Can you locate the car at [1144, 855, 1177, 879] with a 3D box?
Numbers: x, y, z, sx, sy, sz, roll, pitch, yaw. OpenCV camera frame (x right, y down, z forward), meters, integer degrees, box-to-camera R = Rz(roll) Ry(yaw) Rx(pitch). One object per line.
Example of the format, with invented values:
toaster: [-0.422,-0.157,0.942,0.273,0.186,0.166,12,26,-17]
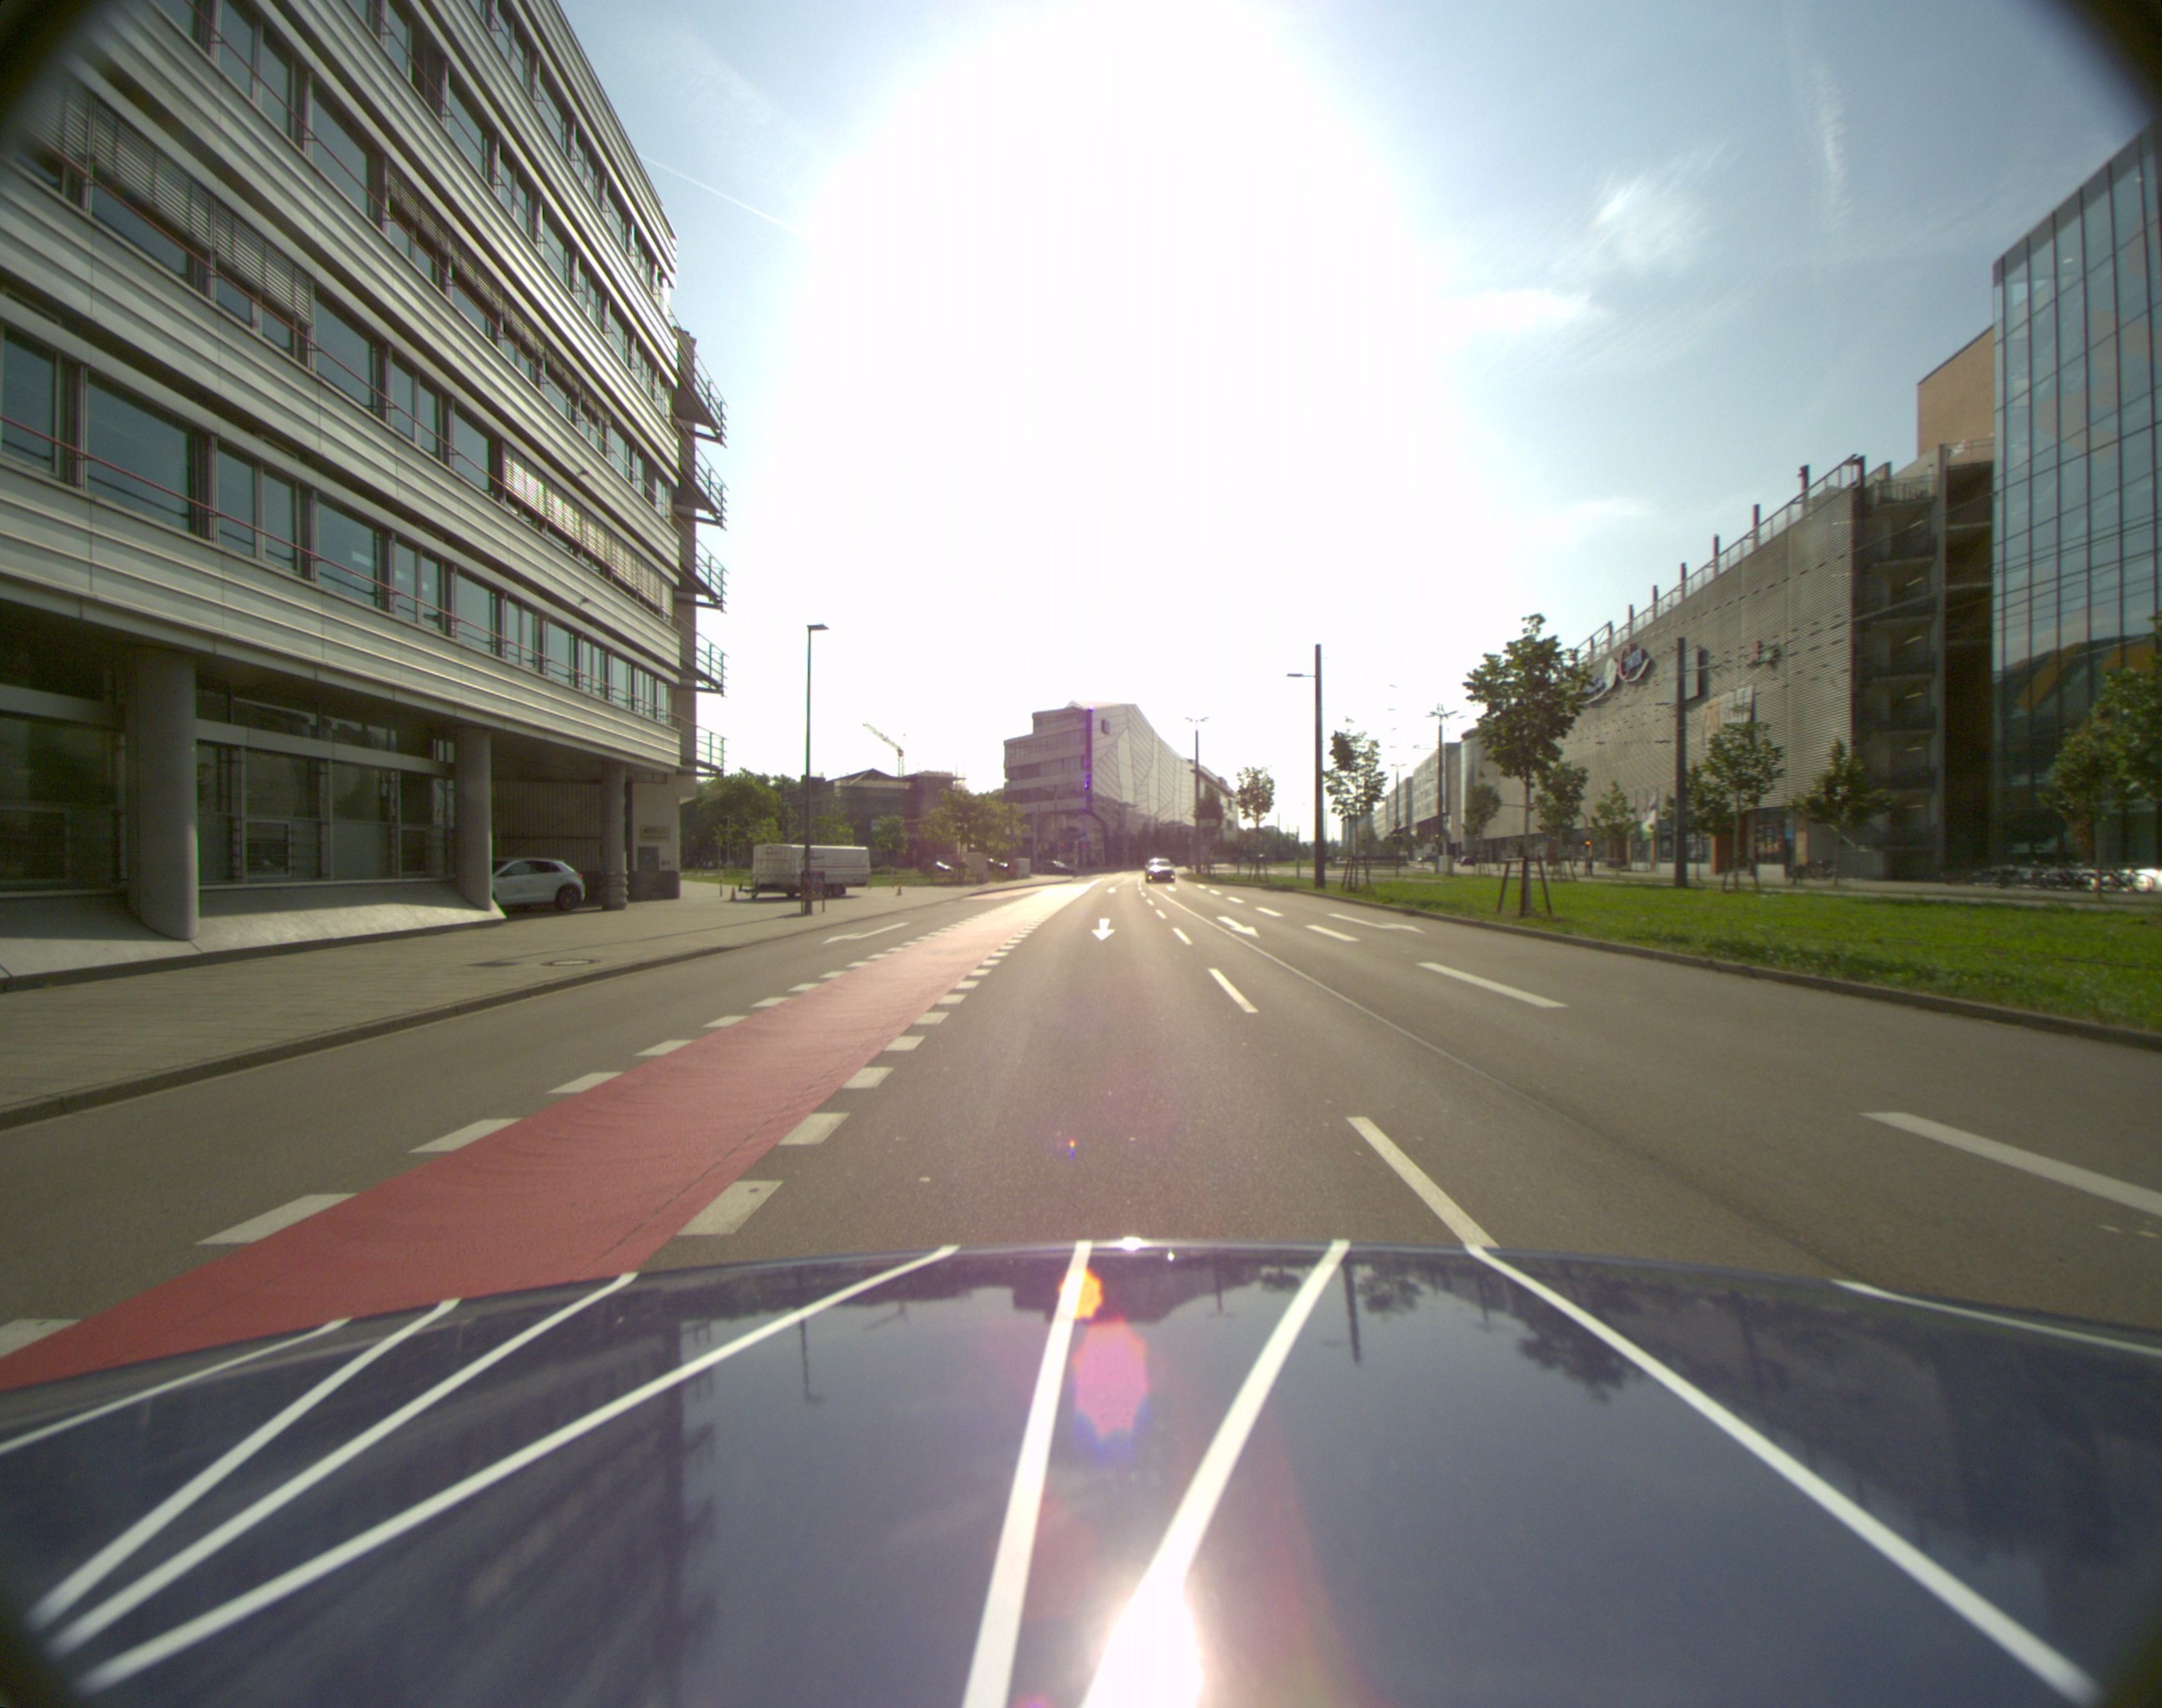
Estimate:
car: [4.871,0.776,46.776,1.643,1.411,3.895,0,0,1]

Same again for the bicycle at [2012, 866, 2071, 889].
bicycle: [39.628,0.982,31.356,1.581,0.935,0.411,0,0,15]

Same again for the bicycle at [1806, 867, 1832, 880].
bicycle: [42.568,1.127,43.828,1.022,0.747,0.361,0,0,18]

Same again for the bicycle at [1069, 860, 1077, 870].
bicycle: [-0.872,1.232,85.776,0.669,1.092,1.805,0,2,6]

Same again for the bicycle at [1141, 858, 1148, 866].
bicycle: [8.975,1.062,107.190,0.418,1.050,1.962,1,2,23]

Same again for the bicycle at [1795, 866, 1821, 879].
bicycle: [43.047,1.074,45.006,1.004,0.747,0.453,0,0,18]

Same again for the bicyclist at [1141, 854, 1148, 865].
bicyclist: [8.993,0.752,107.157,0.781,1.577,0.933,1,2,23]

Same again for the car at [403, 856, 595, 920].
car: [-15.685,0.874,20.786,1.747,1.580,4.004,0,-1,11]

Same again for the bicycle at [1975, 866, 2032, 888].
bicycle: [40.516,1.022,33.381,1.581,0.935,0.473,0,0,16]

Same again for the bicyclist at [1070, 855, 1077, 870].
bicyclist: [-0.863,0.938,85.918,0.669,1.693,0.637,0,2,6]

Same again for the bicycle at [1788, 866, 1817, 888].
bicycle: [37.239,1.167,39.228,0.444,0.982,2.167,1,2,26]

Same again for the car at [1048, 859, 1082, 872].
car: [-1.636,1.142,77.916,3.156,1.335,1.591,0,0,36]

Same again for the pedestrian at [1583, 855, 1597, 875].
pedestrian: [39.874,0.877,59.565,0.762,1.570,0.590,0,1,12]

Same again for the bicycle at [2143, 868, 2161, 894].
bicycle: [41.034,1.012,28.461,1.581,0.935,0.411,0,0,12]

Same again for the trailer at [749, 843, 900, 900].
trailer: [-10.523,0.679,31.817,2.390,2.138,5.960,0,0,28]

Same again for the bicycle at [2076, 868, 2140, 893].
bicycle: [40.287,1.033,29.814,1.581,0.935,0.412,0,0,16]

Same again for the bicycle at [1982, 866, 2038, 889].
bicycle: [39.550,0.998,32.360,1.581,0.935,0.412,0,0,16]
